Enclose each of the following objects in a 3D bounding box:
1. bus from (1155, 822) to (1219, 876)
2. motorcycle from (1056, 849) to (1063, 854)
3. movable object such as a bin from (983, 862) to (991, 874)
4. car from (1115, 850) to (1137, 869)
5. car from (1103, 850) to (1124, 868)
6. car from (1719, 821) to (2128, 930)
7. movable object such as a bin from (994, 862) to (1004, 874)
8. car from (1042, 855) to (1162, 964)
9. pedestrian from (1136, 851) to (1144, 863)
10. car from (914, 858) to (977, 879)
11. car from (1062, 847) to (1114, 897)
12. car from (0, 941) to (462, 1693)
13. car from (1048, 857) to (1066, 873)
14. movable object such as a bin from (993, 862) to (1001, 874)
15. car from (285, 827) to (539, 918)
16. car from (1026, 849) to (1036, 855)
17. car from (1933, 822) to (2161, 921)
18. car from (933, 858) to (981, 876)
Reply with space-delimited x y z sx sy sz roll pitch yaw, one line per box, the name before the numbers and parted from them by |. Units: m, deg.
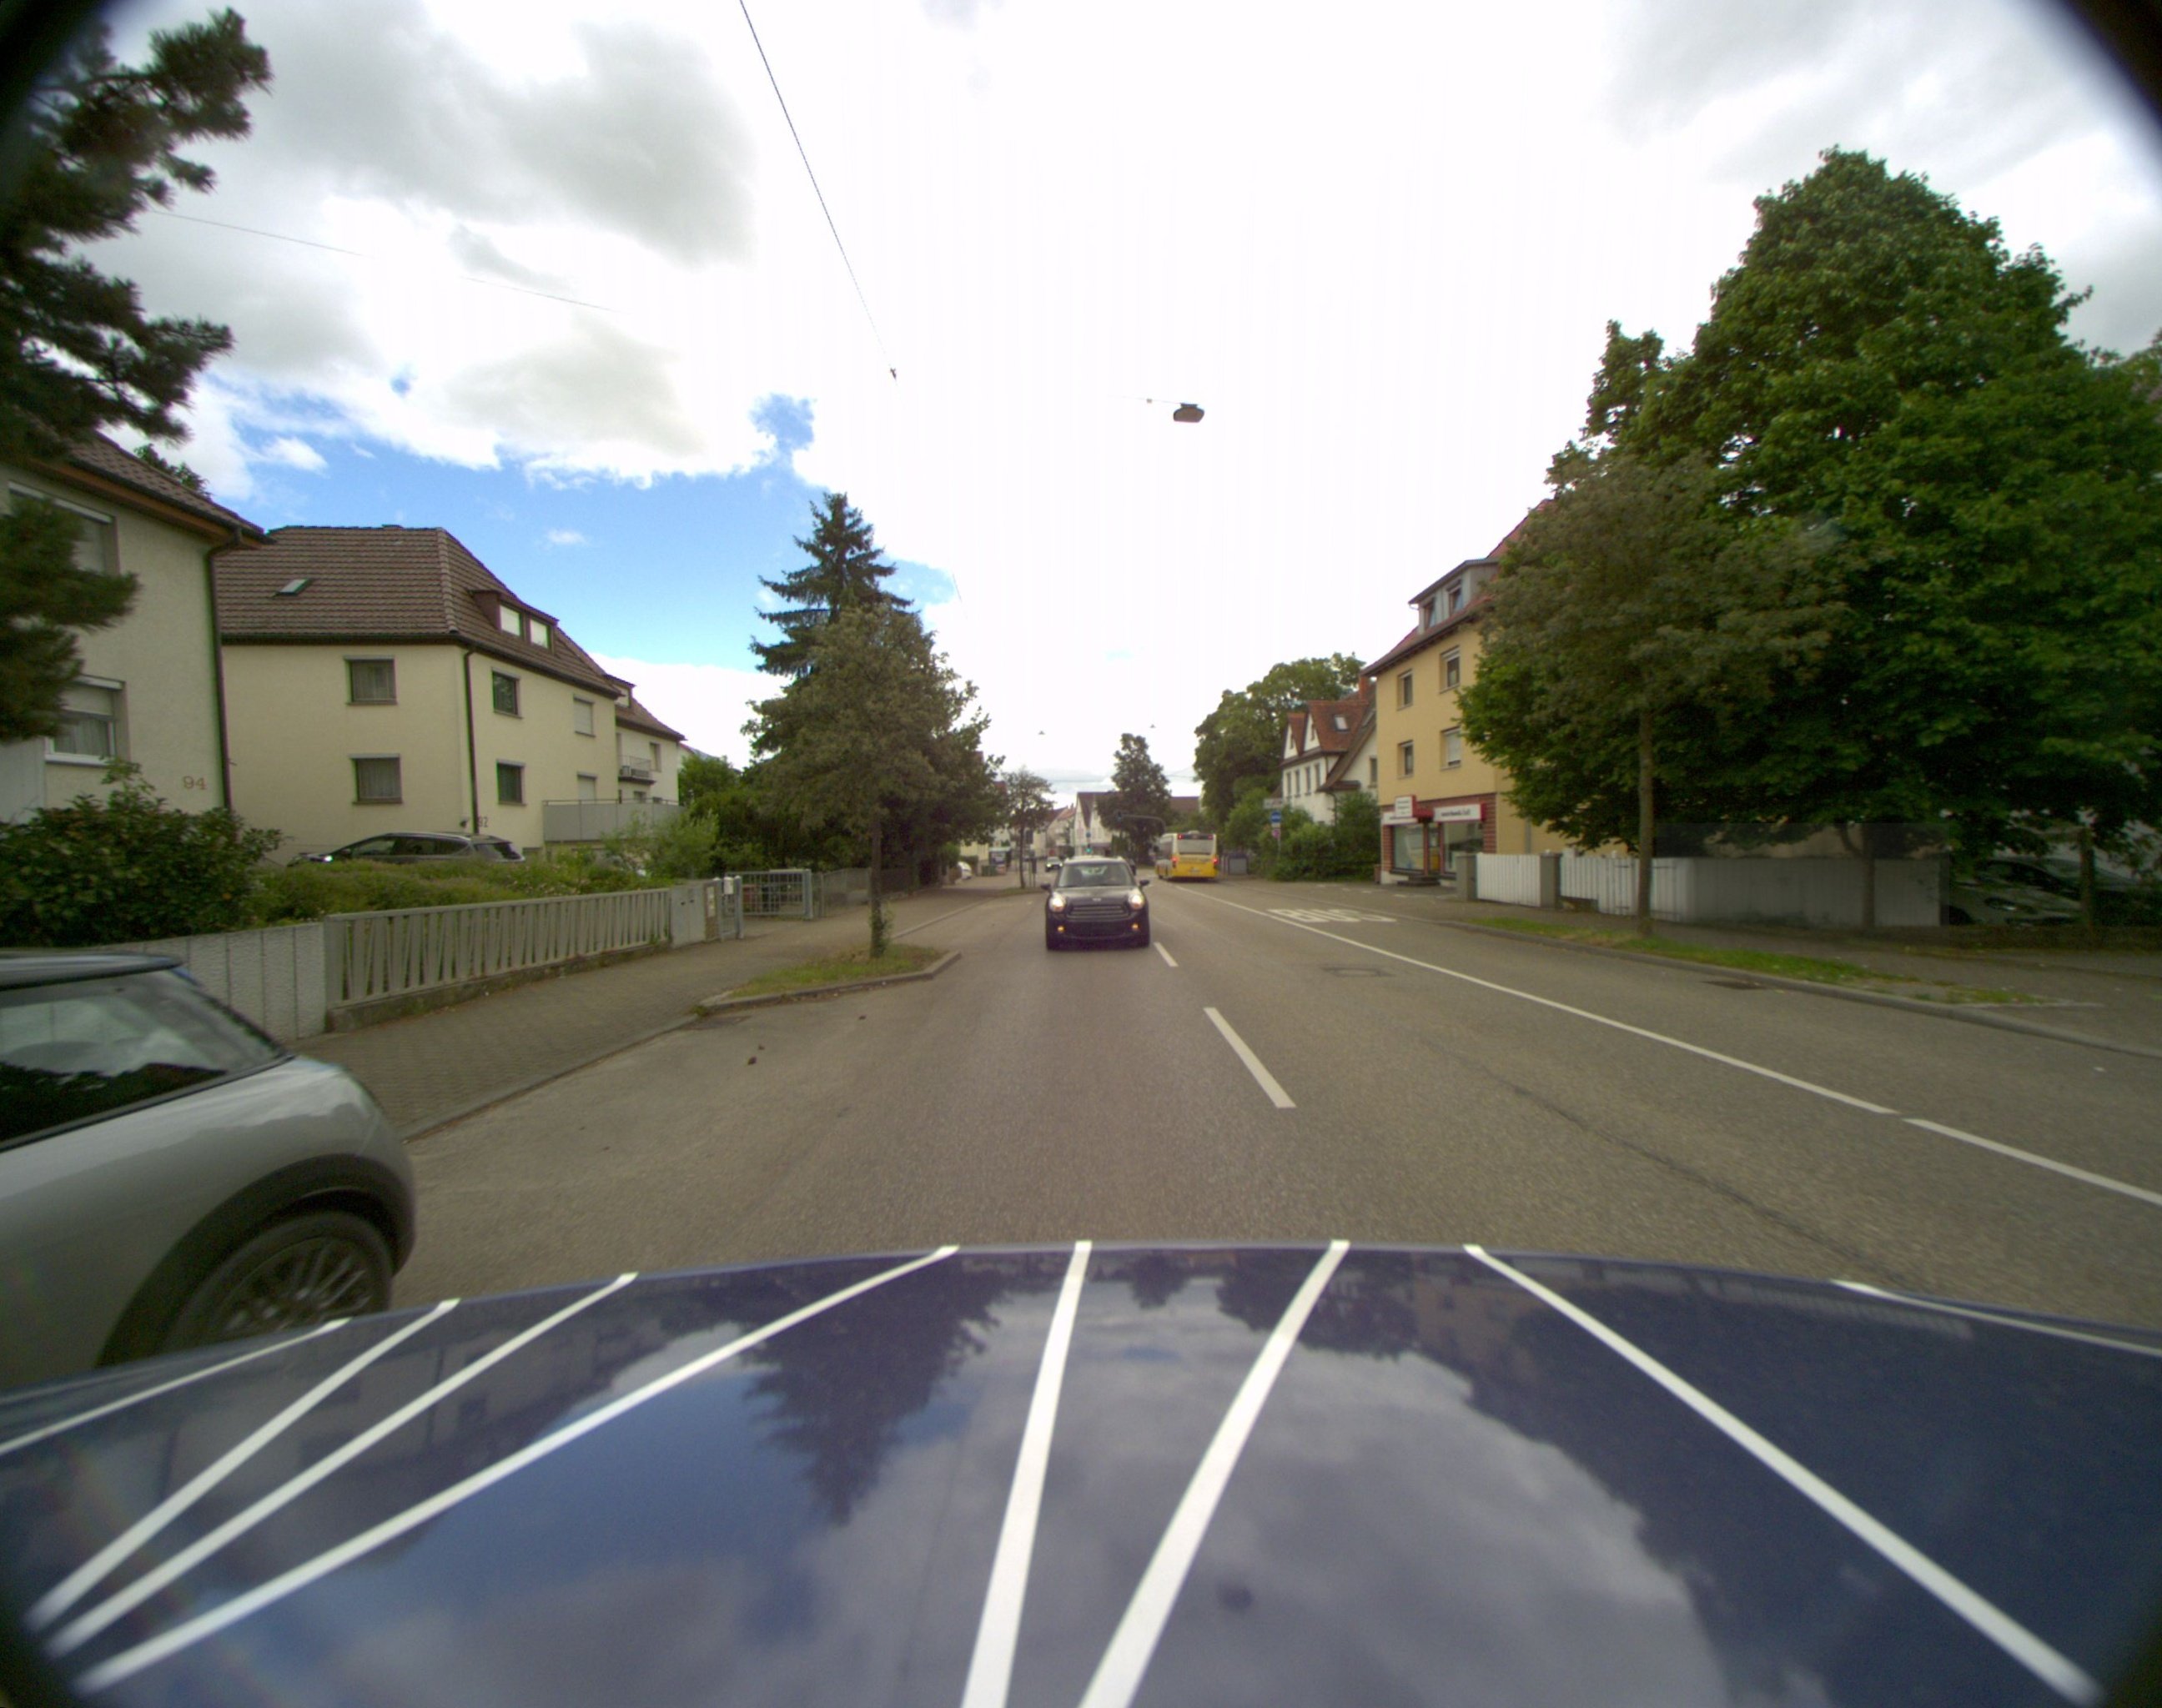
bus | 6.688 -0.346 49.653 2.638 3.068 12.068 0 1 1
motorcycle | -4.847 -0.642 169.529 1.430 1.017 0.524 -4 2 -11
movable object such as a bin | -8.611 1.288 69.751 0.638 1.040 0.585 -2 2 -8
car | 3.842 0.436 65.412 1.568 1.412 4.129 -2 2 -1
car | 3.131 0.473 73.362 1.763 1.626 4.593 0 2 -1
car | 14.024 0.308 13.195 1.811 1.555 4.616 0 0 -4
movable object such as a bin | -7.629 1.274 70.669 0.637 1.041 0.592 -2 2 24
car | 0.242 0.814 13.150 1.694 1.507 3.999 -3 0 -2
pedestrian | 8.126 0.465 105.078 0.642 1.596 0.865 -4 2 -21
car | -10.163 1.047 57.288 4.432 1.480 1.864 0 2 -1
car | 0.228 0.623 29.994 1.811 1.556 4.615 -3 3 0
car | -3.063 1.077 0.660 1.654 1.374 3.999 -2 2 1
car | -2.796 1.257 88.168 1.846 1.510 3.999 -3 2 0
movable object such as a bin | -7.764 1.284 69.885 0.638 1.041 0.585 -3 2 -8
car | -15.040 0.377 17.273 3.998 1.694 1.884 4 3 -3
car | -11.827 -0.524 179.396 1.635 1.404 3.994 -1 1 -14
car | 17.782 0.297 12.678 1.811 1.555 4.617 0 -1 -4
car | -10.298 1.071 63.207 3.814 1.394 1.639 0 2 -5
